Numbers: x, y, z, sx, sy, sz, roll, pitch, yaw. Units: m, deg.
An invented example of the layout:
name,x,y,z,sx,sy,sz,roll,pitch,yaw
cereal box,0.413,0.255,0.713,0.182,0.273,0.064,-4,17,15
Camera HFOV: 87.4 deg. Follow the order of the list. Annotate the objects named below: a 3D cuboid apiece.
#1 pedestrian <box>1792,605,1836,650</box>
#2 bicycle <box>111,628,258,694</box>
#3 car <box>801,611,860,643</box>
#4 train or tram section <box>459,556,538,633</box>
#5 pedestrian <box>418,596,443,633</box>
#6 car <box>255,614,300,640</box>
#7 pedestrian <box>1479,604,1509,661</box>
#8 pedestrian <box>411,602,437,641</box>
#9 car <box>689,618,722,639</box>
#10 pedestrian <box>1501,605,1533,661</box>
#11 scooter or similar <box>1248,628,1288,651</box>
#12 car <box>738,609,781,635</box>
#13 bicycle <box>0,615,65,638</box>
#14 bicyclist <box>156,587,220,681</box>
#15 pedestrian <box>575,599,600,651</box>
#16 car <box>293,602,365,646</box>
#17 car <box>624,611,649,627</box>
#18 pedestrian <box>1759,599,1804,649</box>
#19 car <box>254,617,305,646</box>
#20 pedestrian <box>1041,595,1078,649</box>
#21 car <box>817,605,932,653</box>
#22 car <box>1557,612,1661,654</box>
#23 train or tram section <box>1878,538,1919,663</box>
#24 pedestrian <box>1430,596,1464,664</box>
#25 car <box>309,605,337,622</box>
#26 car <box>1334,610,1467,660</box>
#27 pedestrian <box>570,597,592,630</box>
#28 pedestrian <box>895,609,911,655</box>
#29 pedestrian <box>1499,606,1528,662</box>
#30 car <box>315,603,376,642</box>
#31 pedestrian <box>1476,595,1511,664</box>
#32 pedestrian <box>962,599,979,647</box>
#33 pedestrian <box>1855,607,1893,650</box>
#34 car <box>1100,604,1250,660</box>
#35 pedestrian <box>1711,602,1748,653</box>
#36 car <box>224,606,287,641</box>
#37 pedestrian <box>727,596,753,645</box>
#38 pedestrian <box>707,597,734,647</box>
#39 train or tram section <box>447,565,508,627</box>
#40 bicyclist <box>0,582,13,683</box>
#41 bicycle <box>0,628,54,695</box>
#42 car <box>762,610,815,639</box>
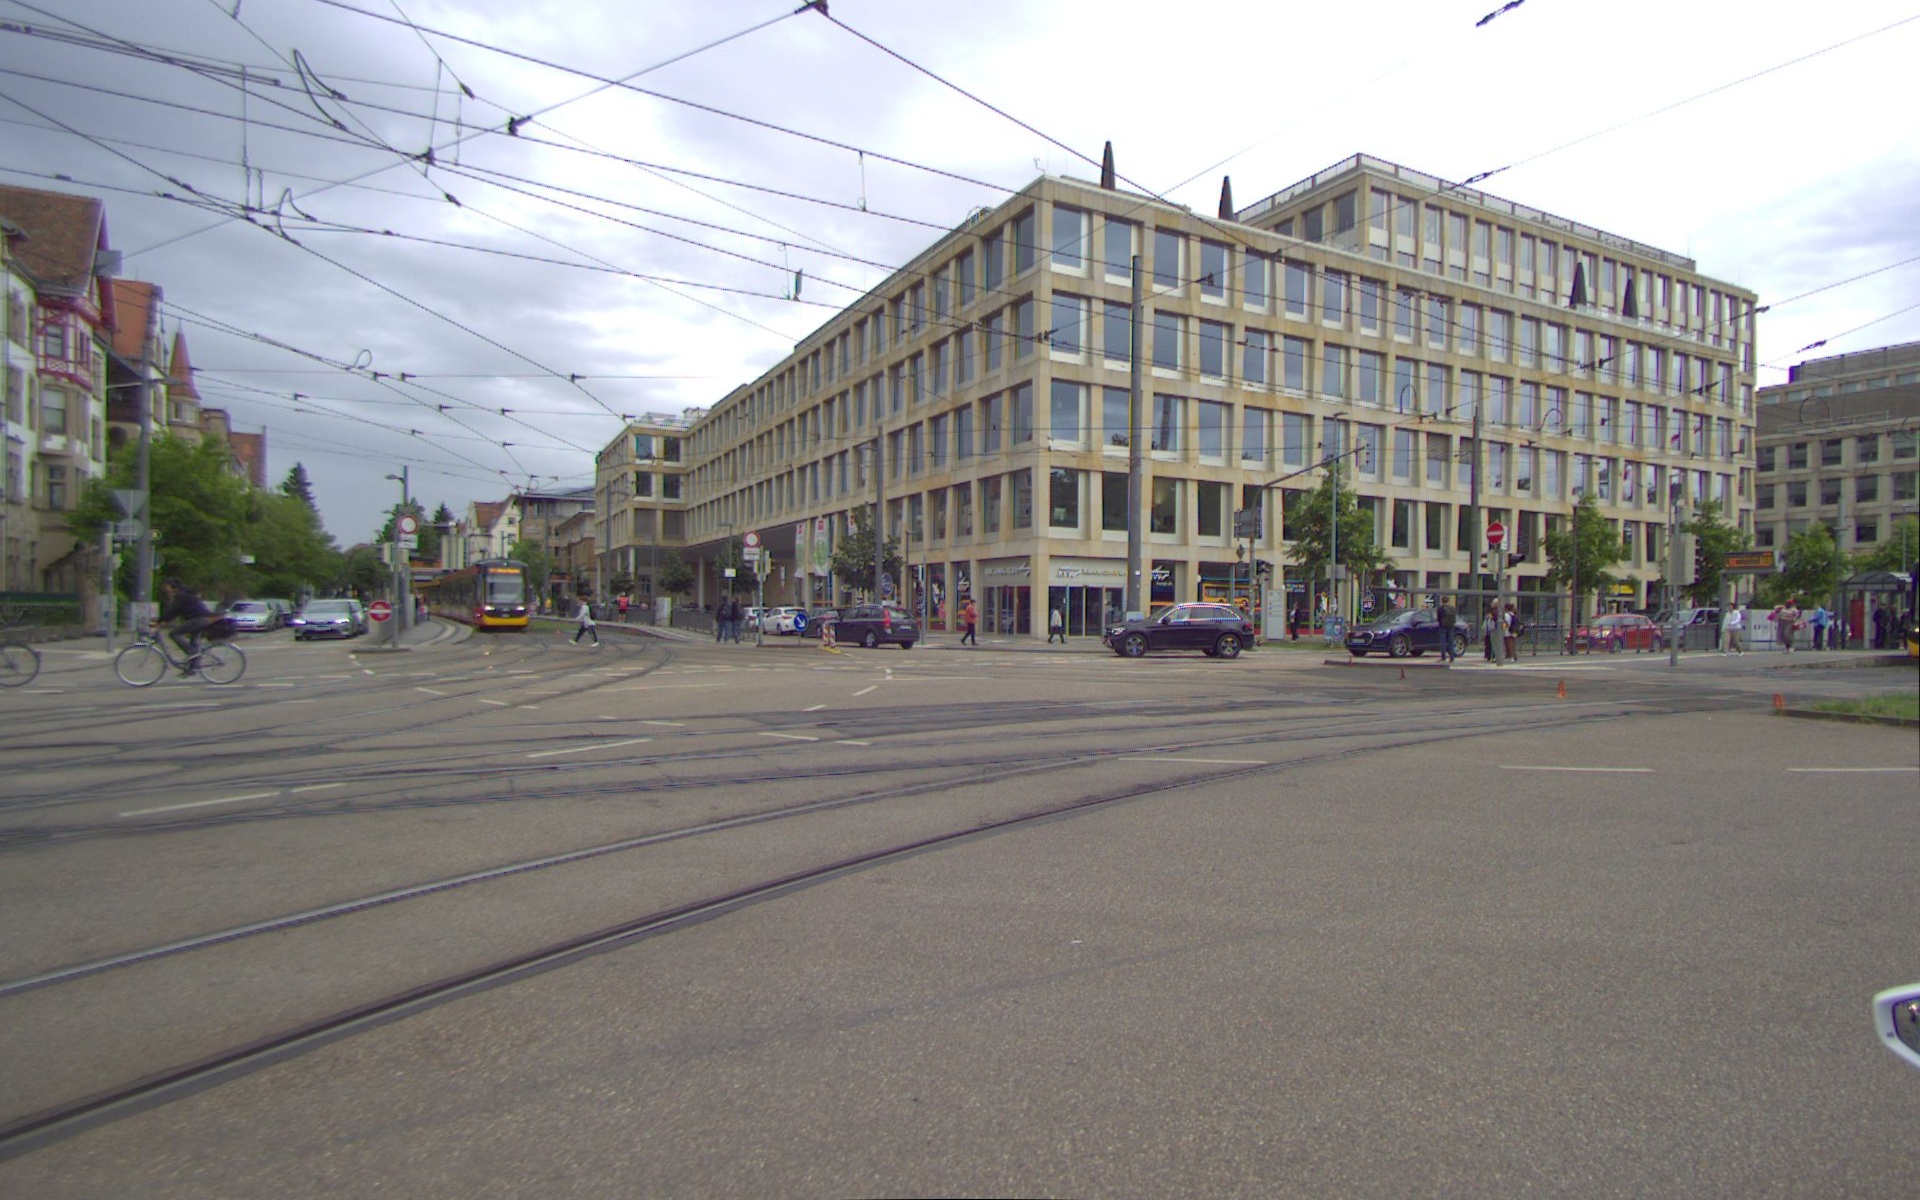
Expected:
name,x,y,z,sx,sy,sz,roll,pitch,yaw
pedestrian,31.294,0.999,36.809,0.895,1.606,0.846,1,-1,-14
bicycle,-13.103,1.011,17.052,1.894,1.050,0.744,2,-1,-33
car,-6.313,1.281,48.668,1.772,1.439,3.678,1,0,-26
train or tram section,-24.623,-0.189,53.097,2.573,3.560,14.005,1,-1,-30
pedestrian,-29.435,0.795,55.861,1.110,2.040,1.061,1,-1,-32
car,-43.713,1.708,64.396,1.776,1.530,3.974,1,-1,-26
pedestrian,15.520,0.943,29.208,0.514,1.619,0.717,1,-1,7
pedestrian,-28.534,1.148,53.493,1.111,2.040,1.060,1,-1,-33
car,-18.532,2.067,73.148,1.699,1.439,3.273,1,0,-26
pedestrian,16.554,0.968,29.854,0.706,1.619,0.705,0,-1,40
scooter or similar,12.300,1.564,40.139,0.685,0.860,1.479,1,0,-24
car,-11.762,1.282,58.713,1.699,1.439,3.273,1,0,-26
bicycle,-31.190,0.875,33.587,1.781,0.748,0.558,2,-1,-28
bicyclist,-13.087,0.569,17.056,0.757,1.541,0.744,1,-1,-32
pedestrian,-12.521,0.843,33.760,0.696,1.709,0.604,1,-1,-30
car,-23.494,0.889,37.522,1.776,1.530,3.974,1,-1,-26
car,-28.786,1.686,89.410,1.699,1.439,3.273,1,0,-26
pedestrian,27.294,0.800,33.373,0.838,1.606,0.904,1,-1,-29
car,-38.262,1.732,56.585,1.776,1.530,3.974,1,-1,-26
pedestrian,3.840,0.852,38.790,0.986,2.040,1.038,1,-1,-29
car,-3.104,0.998,35.950,3.944,1.617,1.988,0,-1,44
car,24.027,1.194,37.160,3.723,1.468,1.731,1,0,-29
train or tram section,33.653,0.160,32.087,11.622,3.688,2.842,2,-1,-29
pedestrian,13.822,0.848,28.495,0.839,1.892,0.747,1,-1,28
car,-61.471,1.283,96.987,1.776,1.530,3.974,1,-1,-26
car,14.276,1.114,32.529,4.314,1.514,1.731,1,0,-29
pedestrian,-23.902,0.859,63.330,1.057,2.040,1.114,1,-1,-30
pedestrian,-2.277,1.293,40.125,0.457,1.818,0.412,1,-1,-38
pedestrian,16.060,0.983,29.151,0.514,1.619,0.717,1,-1,7
car,-26.024,0.937,42.653,1.776,1.530,3.974,1,-1,-26
pedestrian,14.821,0.809,27.915,0.839,1.892,0.747,1,-1,28
pedestrian,0.397,0.881,38.611,0.457,1.818,0.412,1,-1,-38
pedestrian,34.139,1.064,37.515,0.901,1.606,0.841,1,-1,-32
car,6.517,0.960,30.746,4.235,1.620,1.744,0,0,1
pedestrian,24.518,0.886,32.006,0.757,1.606,0.704,1,-1,-30
car,-33.219,1.088,47.457,1.776,1.530,3.974,1,-1,-26
pedestrian,-8.130,0.756,37.131,0.677,1.777,0.851,1,-1,-32
pedestrian,-8.742,0.809,36.665,0.677,1.777,0.851,1,-1,-32
train or tram section,-31.534,-0.155,65.316,2.573,3.560,14.005,1,-1,-30
bicyclist,-15.973,0.522,16.209,0.850,1.627,0.718,-1,0,-32
bicycle,-15.968,1.006,16.211,1.888,1.051,0.718,0,0,-33
car,-9.138,1.274,53.296,1.772,1.439,3.678,1,0,-26
